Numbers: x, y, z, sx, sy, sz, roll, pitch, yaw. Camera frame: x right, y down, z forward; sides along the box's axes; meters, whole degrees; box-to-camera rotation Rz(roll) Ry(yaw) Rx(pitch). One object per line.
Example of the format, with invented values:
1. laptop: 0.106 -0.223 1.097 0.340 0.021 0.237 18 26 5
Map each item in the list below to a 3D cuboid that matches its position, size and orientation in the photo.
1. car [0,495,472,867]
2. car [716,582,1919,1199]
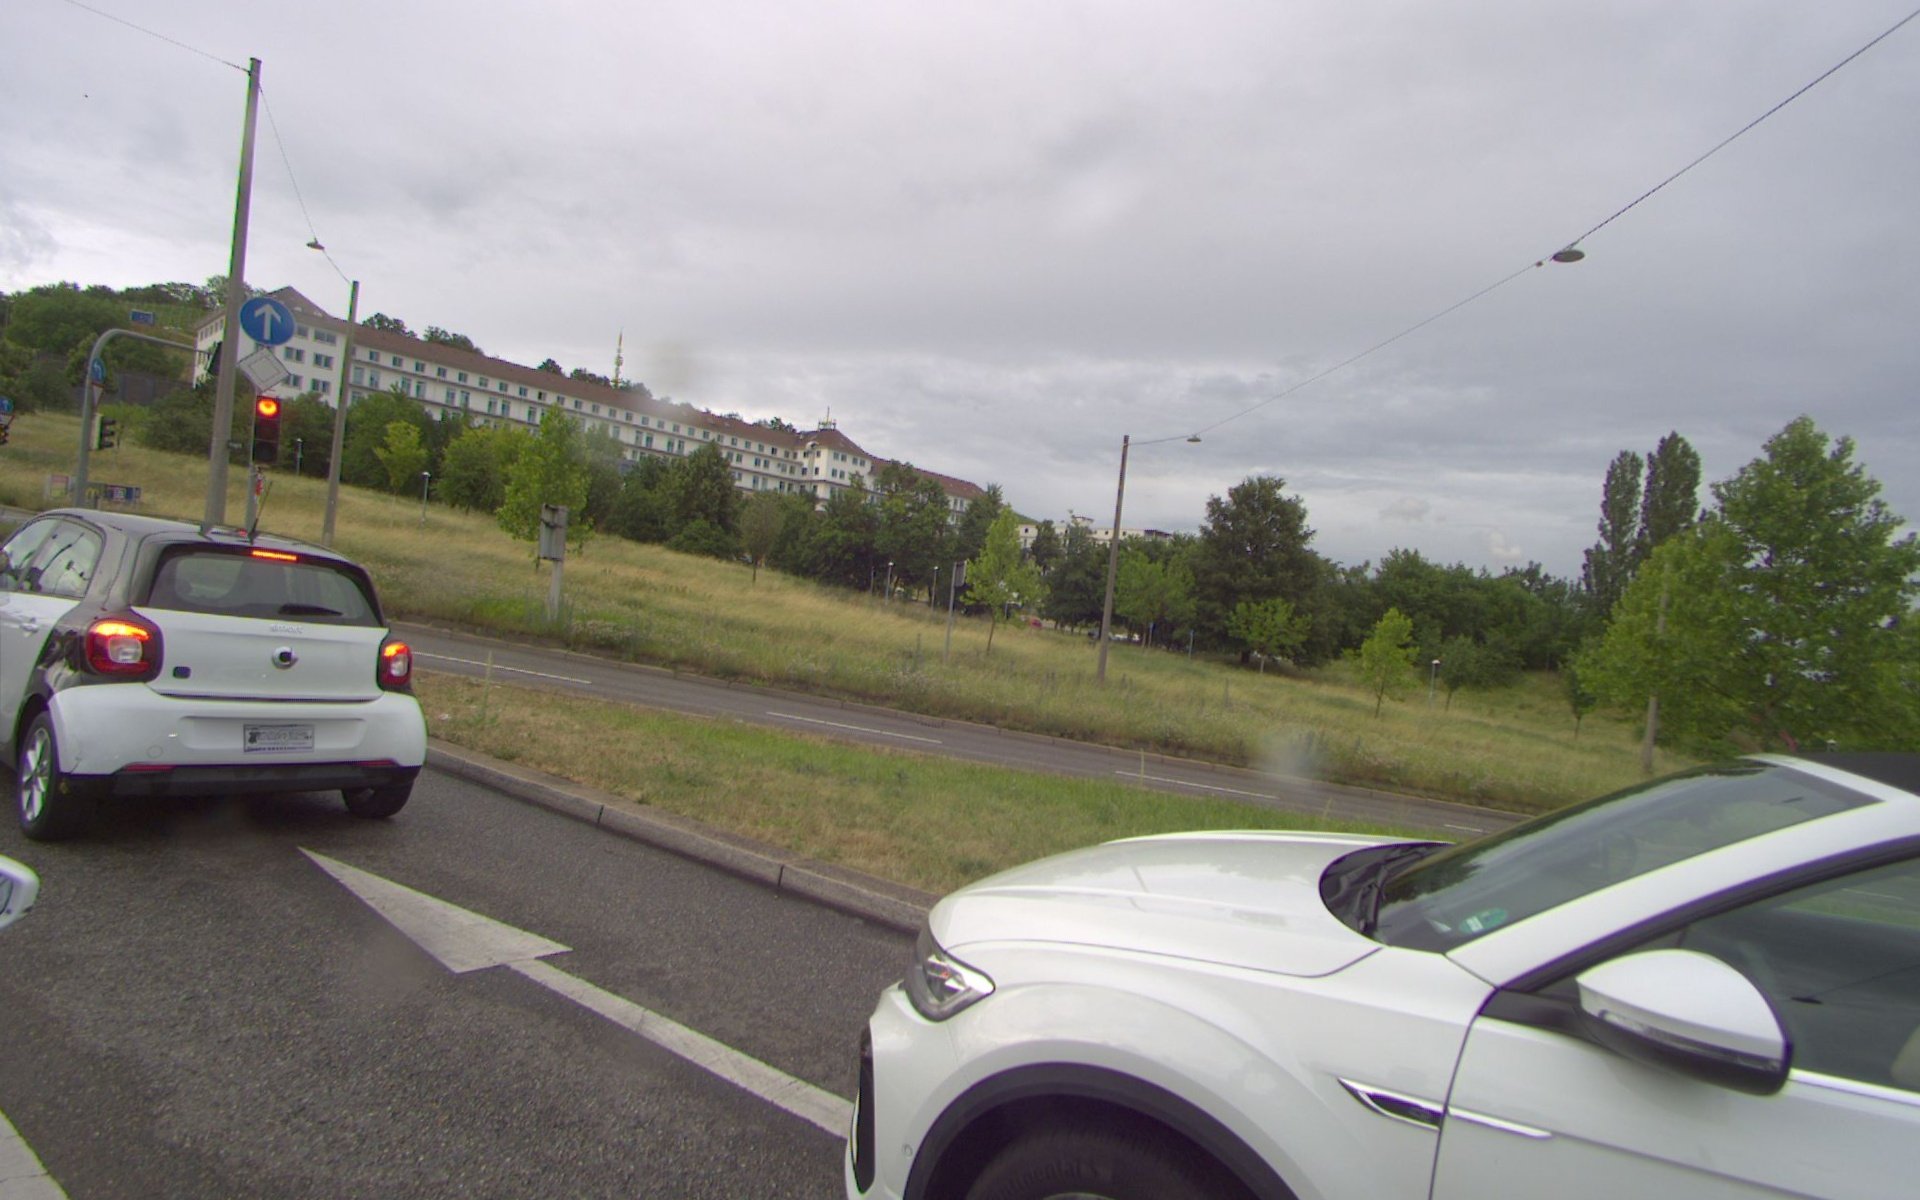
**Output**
1. car: -4.609 0.300 5.833 3.397 1.520 1.659 6 -2 36
2. car: 1.765 1.011 1.797 4.157 1.571 1.717 6 -2 29
